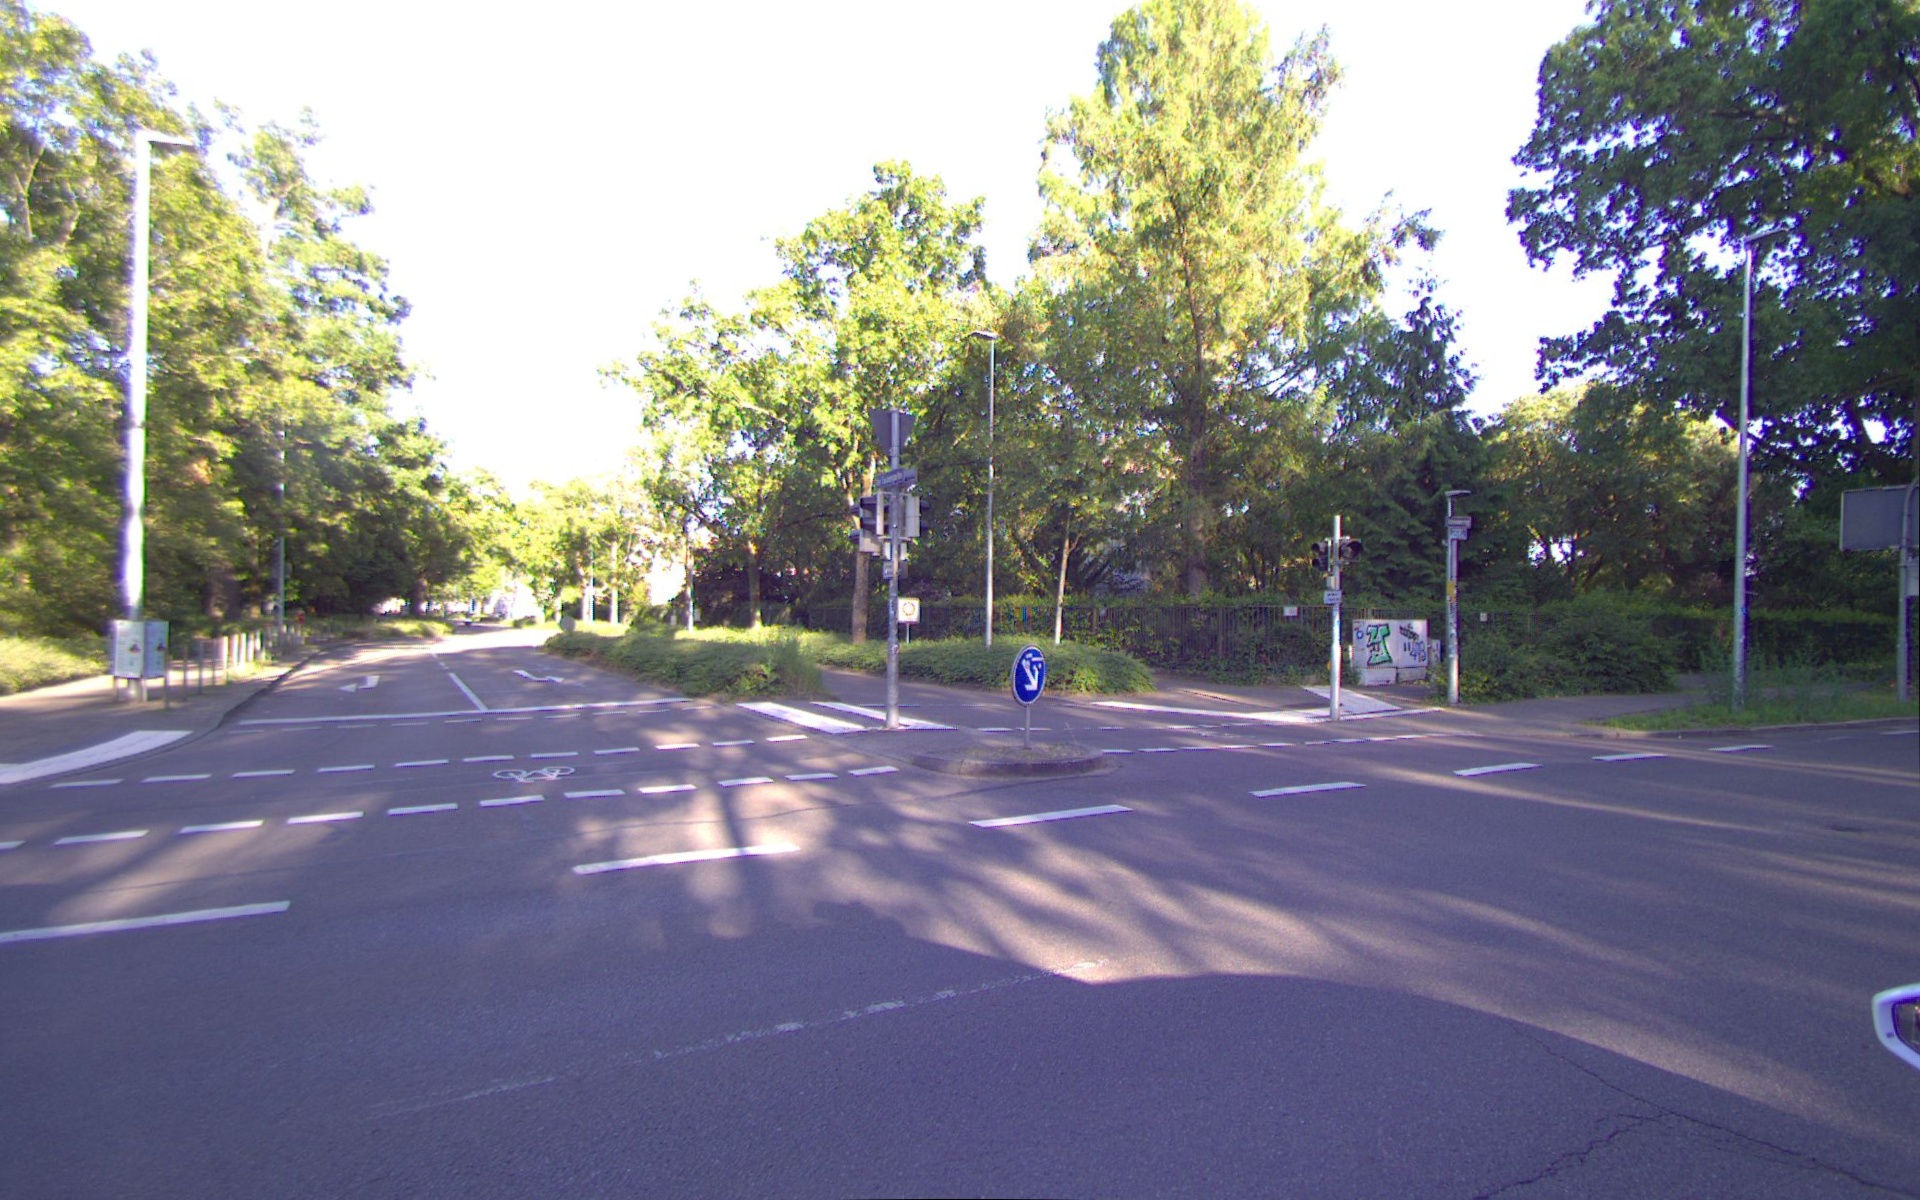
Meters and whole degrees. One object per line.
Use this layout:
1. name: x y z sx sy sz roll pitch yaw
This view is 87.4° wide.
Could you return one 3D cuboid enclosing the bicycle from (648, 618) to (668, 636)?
1. bicycle: -21.352 1.895 71.033 0.869 1.216 2.324 -1 0 -5
